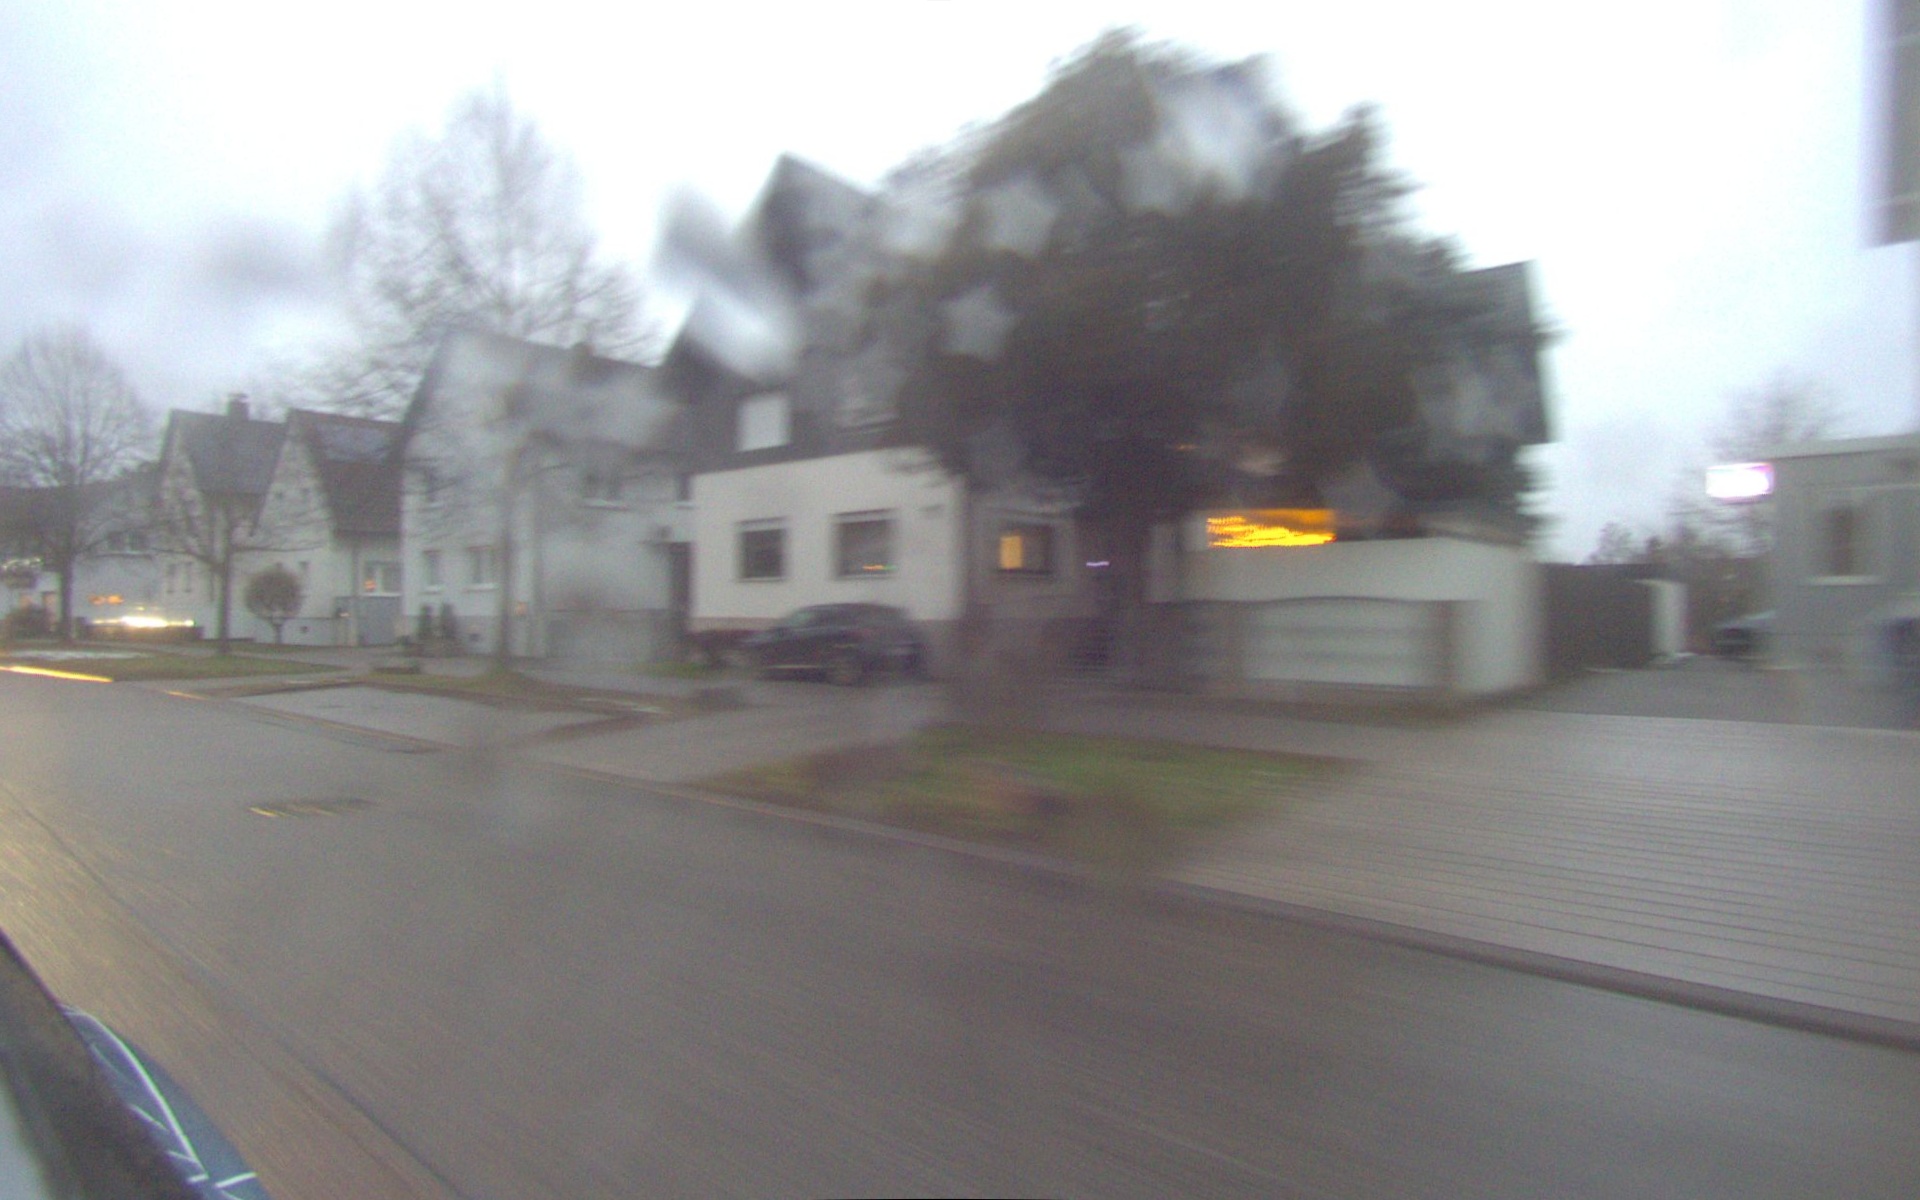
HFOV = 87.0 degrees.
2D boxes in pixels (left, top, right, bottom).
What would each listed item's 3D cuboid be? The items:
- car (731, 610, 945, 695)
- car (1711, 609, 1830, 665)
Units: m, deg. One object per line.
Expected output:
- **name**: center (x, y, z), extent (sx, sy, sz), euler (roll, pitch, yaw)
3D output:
- **car**: center (-2.325, 0.886, 18.705), extent (4.000, 1.376, 1.762), euler (0, 0, 43)
- **car**: center (23.234, 1.020, 28.988), extent (3.657, 1.511, 1.482), euler (1, -1, -31)
